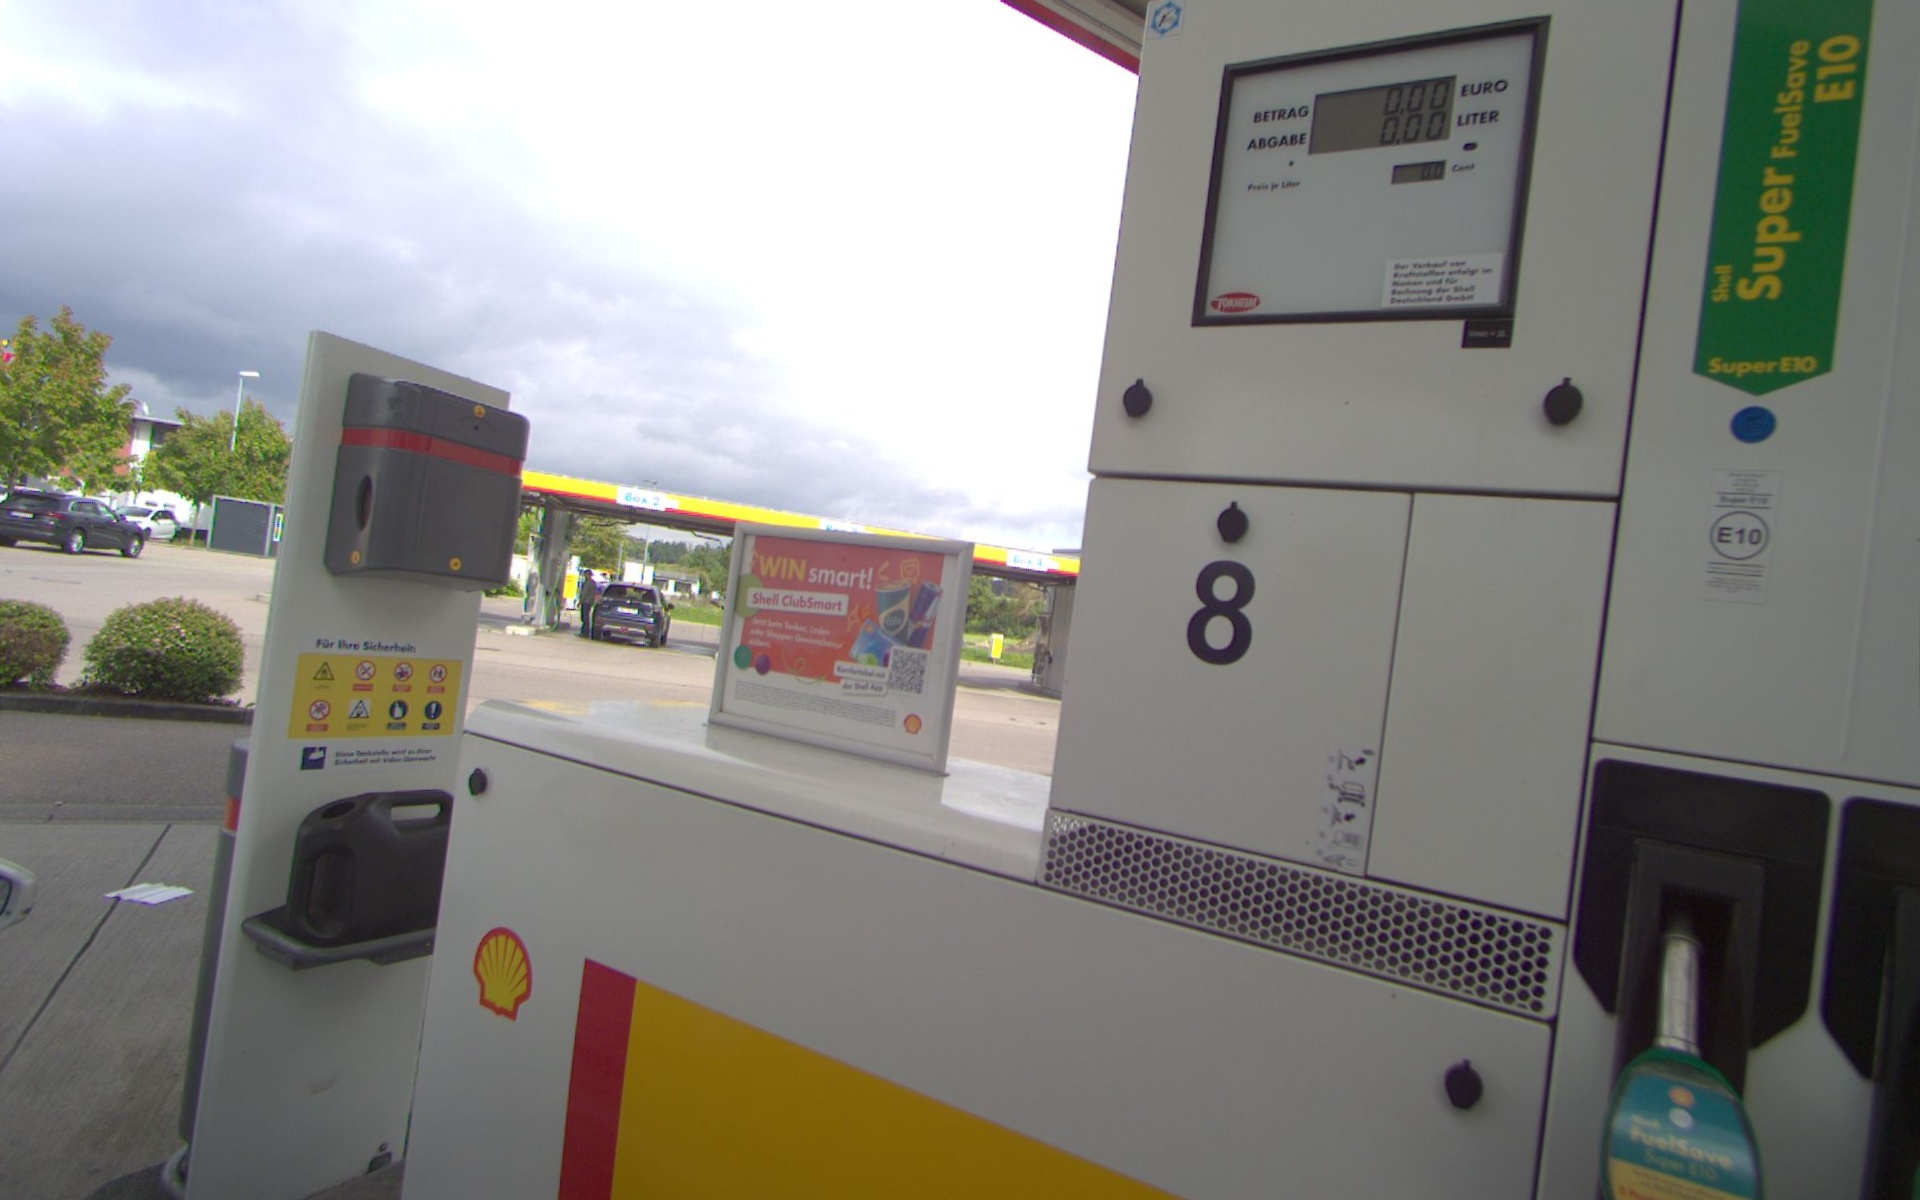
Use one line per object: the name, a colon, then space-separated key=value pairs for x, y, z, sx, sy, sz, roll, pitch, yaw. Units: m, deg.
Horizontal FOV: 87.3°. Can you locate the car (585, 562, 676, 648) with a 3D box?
car: x=-8.719 y=0.145 z=26.899 sx=1.696 sy=1.919 sz=3.800 roll=8 pitch=-2 yaw=-12

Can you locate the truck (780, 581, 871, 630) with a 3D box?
truck: x=-13.030 y=0.553 z=97.544 sx=7.978 sy=3.575 sz=2.687 roll=8 pitch=-2 yaw=-19

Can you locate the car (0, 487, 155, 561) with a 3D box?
car: x=-25.950 y=-2.174 z=29.299 sx=1.855 sy=1.566 sz=4.498 roll=8 pitch=-2 yaw=-10

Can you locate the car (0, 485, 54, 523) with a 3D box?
car: x=-57.377 y=-5.912 z=60.284 sx=2.149 sy=1.854 sz=4.870 roll=8 pitch=-2 yaw=-11

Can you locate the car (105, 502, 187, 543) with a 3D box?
car: x=-35.278 y=-3.347 z=43.686 sx=1.346 sy=1.322 sz=3.098 roll=8 pitch=-2 yaw=-12

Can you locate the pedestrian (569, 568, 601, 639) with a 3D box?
pedestrian: x=-9.722 y=0.092 z=26.078 sx=0.550 sy=1.742 sz=0.526 roll=7 pitch=-1 yaw=-21
